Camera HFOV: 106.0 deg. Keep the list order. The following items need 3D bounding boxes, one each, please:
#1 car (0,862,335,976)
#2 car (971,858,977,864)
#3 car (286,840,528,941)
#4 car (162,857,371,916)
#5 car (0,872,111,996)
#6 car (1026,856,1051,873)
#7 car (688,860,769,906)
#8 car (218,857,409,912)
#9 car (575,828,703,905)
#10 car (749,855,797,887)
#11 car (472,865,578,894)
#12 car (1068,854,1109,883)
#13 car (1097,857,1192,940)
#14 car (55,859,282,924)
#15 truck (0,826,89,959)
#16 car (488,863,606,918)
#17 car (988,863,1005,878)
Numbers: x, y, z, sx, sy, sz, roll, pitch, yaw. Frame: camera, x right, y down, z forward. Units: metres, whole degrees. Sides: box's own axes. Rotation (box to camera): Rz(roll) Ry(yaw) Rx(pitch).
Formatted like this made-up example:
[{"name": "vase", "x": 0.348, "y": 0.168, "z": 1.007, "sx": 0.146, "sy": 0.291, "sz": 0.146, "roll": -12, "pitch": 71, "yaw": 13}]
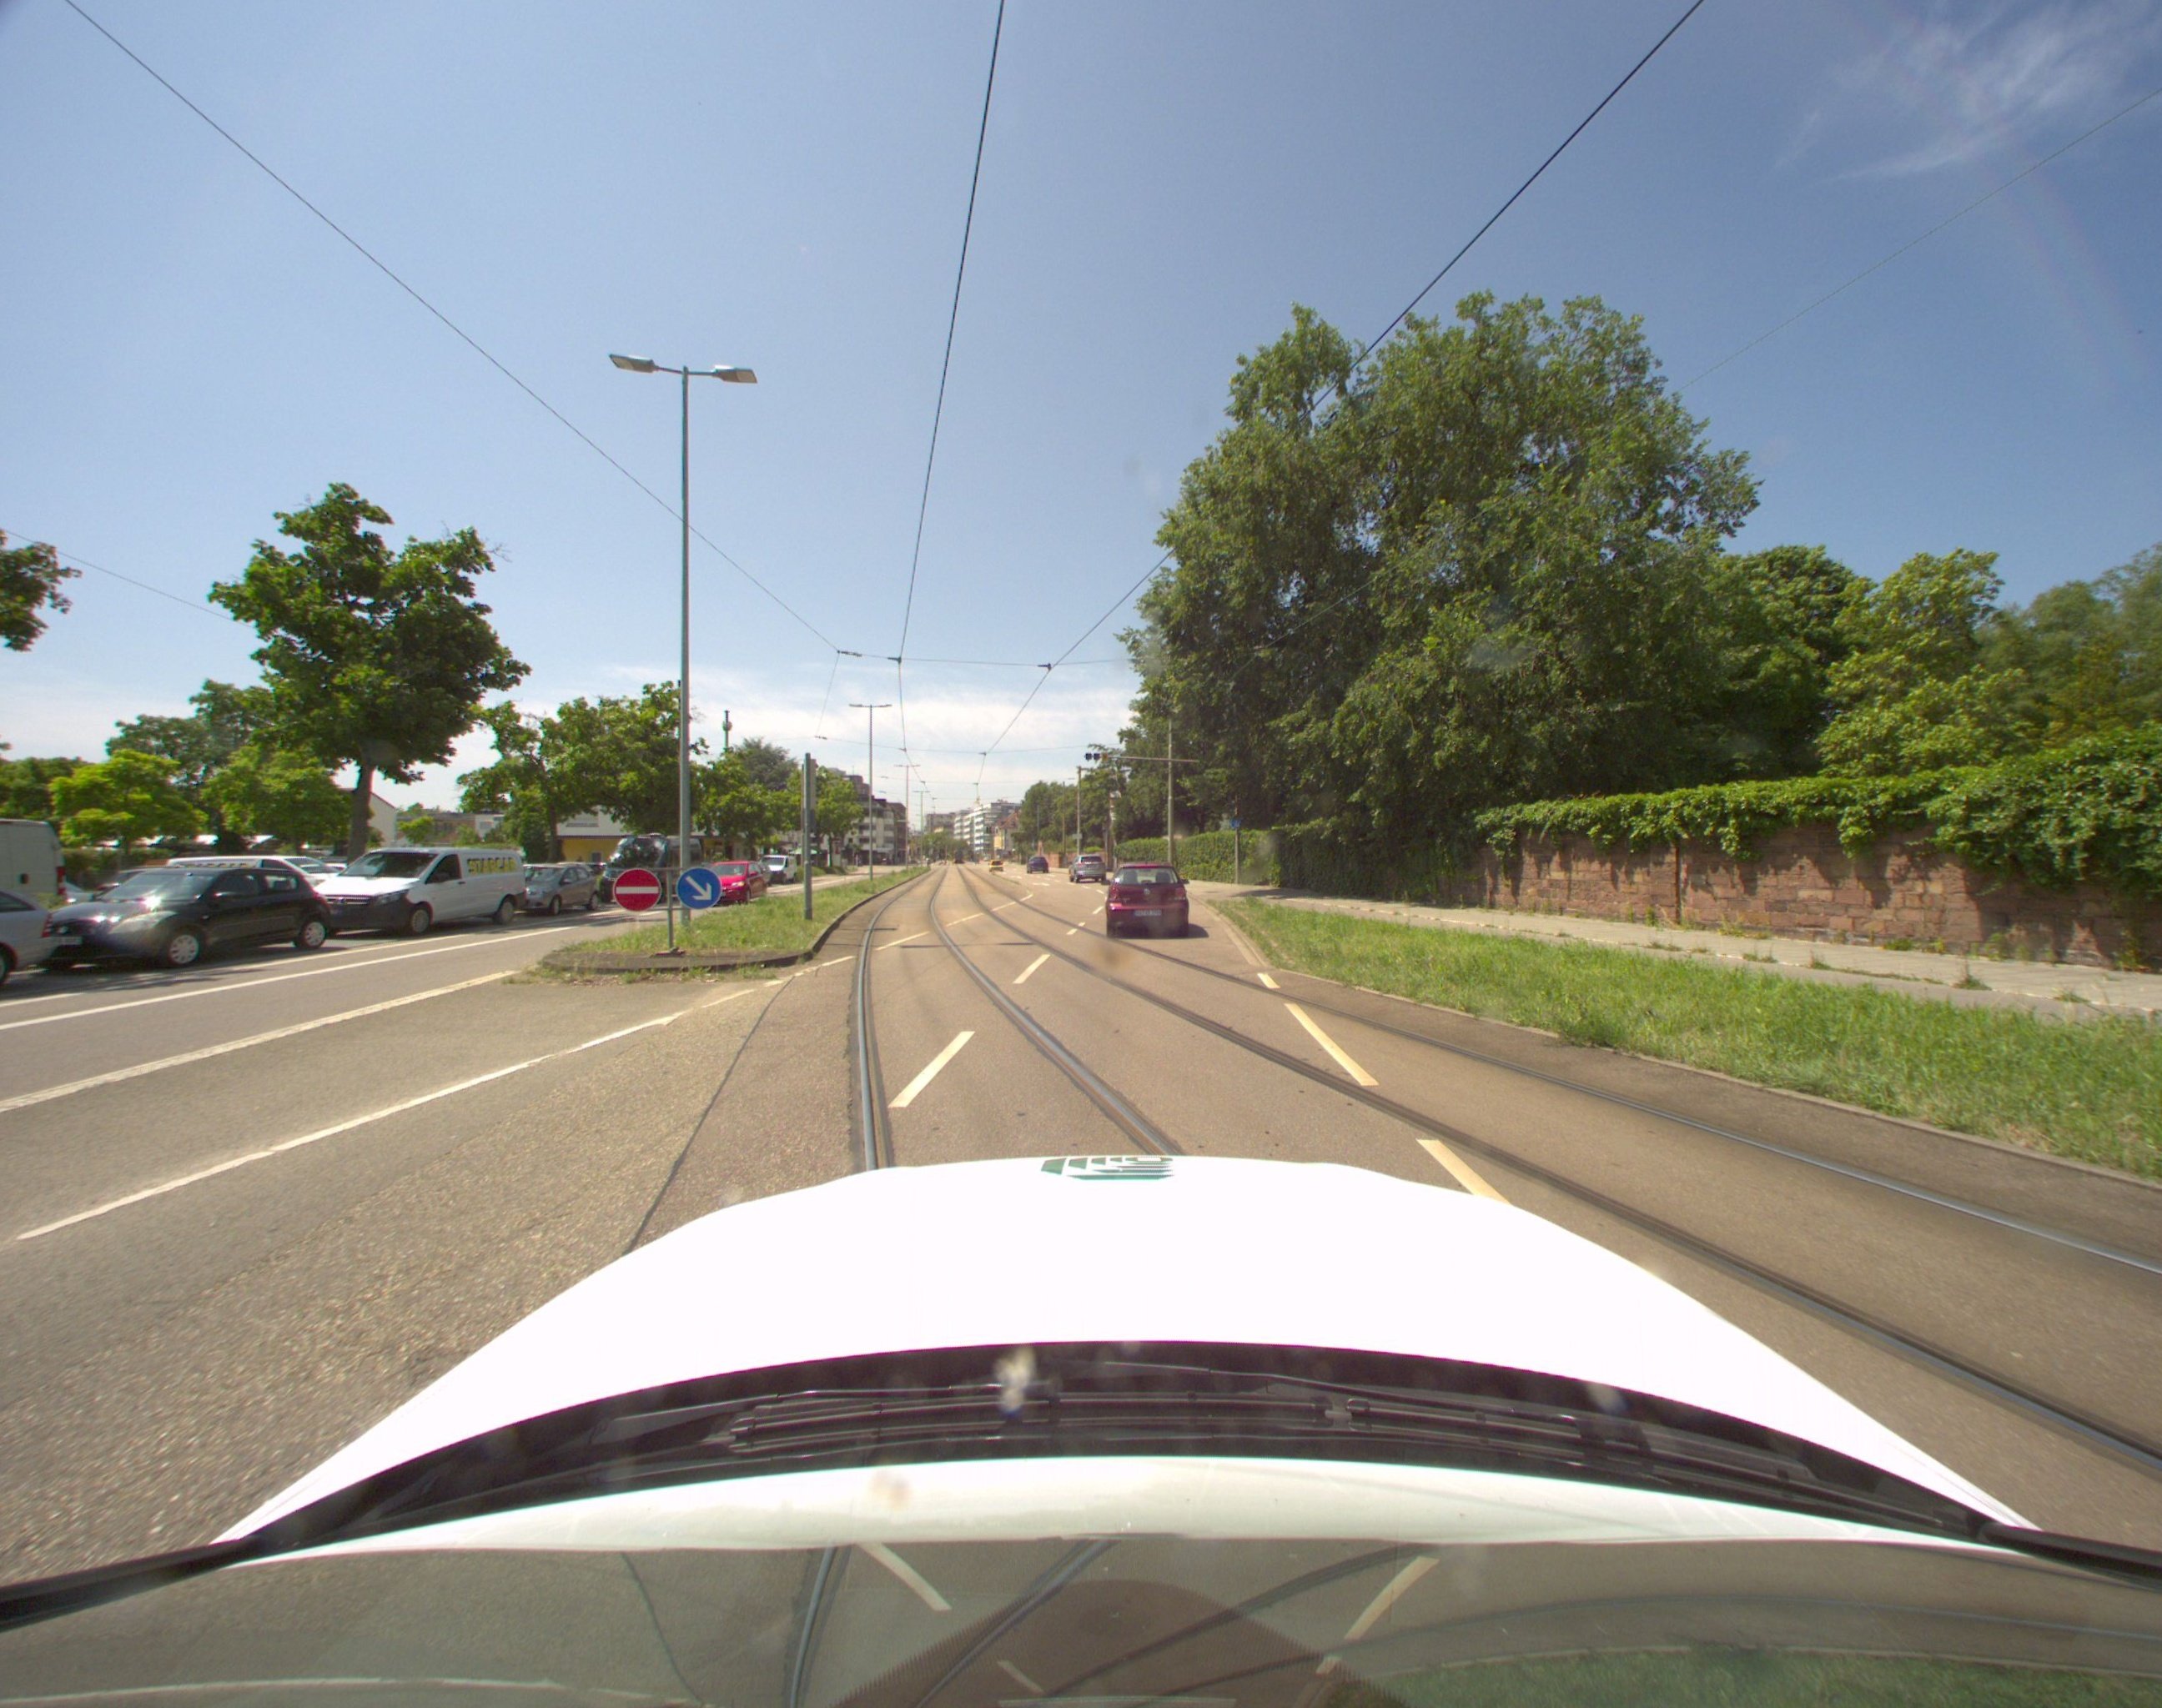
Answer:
[{"name": "car", "x": -14.365, "y": 0.915, "z": 13.007, "sx": 1.612, "sy": 1.484, "sz": 3.775, "roll": 3, "pitch": -1, "yaw": -7}, {"name": "car", "x": -23.267, "y": 1.493, "z": 176.717, "sx": 1.353, "sy": 1.252, "sz": 2.963, "roll": 1, "pitch": 0, "yaw": -9}, {"name": "car", "x": -15.086, "y": 0.748, "z": 18.677, "sx": 1.861, "sy": 1.937, "sz": 4.794, "roll": 3, "pitch": -1, "yaw": -7}, {"name": "car", "x": -27.104, "y": 1.027, "z": 27.283, "sx": 4.720, "sy": 1.813, "sz": 1.790, "roll": -1, "pitch": 0, "yaw": -11}, {"name": "car", "x": -13.669, "y": 0.965, "z": 8.575, "sx": 1.719, "sy": 1.427, "sz": 4.754, "roll": 2, "pitch": -1, "yaw": -10}, {"name": "car", "x": -4.139, "y": 0.992, "z": 78.467, "sx": 1.775, "sy": 1.631, "sz": 3.984, "roll": 1, "pitch": 0, "yaw": -12}, {"name": "car", "x": -11.871, "y": 0.932, "z": 27.637, "sx": 1.657, "sy": 1.410, "sz": 3.594, "roll": -2, "pitch": 0, "yaw": -9}, {"name": "car", "x": -27.469, "y": 1.056, "z": 29.311, "sx": 4.720, "sy": 1.813, "sz": 1.790, "roll": -1, "pitch": 0, "yaw": -11}, {"name": "car", "x": -17.214, "y": 0.472, "z": 32.201, "sx": 2.398, "sy": 2.656, "sz": 6.153, "roll": 3, "pitch": -1, "yaw": -9}, {"name": "car", "x": -20.528, "y": 1.087, "z": 54.504, "sx": 1.875, "sy": 1.965, "sz": 5.148, "roll": 3, "pitch": -1, "yaw": -9}, {"name": "car", "x": -29.553, "y": 1.343, "z": 43.402, "sx": 4.212, "sy": 1.411, "sz": 1.849, "roll": -1, "pitch": 0, "yaw": -12}, {"name": "car", "x": 0.407, "y": 0.845, "z": 48.782, "sx": 1.794, "sy": 1.683, "sz": 3.988, "roll": 1, "pitch": 0, "yaw": -9}, {"name": "car", "x": 1.229, "y": 0.837, "z": 17.236, "sx": 1.605, "sy": 1.498, "sz": 3.998, "roll": -1, "pitch": 0, "yaw": -1}, {"name": "car", "x": -27.018, "y": 1.062, "z": 24.278, "sx": 4.211, "sy": 1.765, "sz": 1.850, "roll": -1, "pitch": 0, "yaw": -11}, {"name": "truck", "x": -25.278, "y": 0.832, "z": 16.990, "sx": 5.575, "sy": 2.759, "sz": 2.425, "roll": -1, "pitch": 0, "yaw": -9}, {"name": "car", "x": -15.838, "y": 1.024, "z": 24.384, "sx": 1.404, "sy": 1.440, "sz": 3.827, "roll": 3, "pitch": -1, "yaw": -9}, {"name": "car", "x": -10.365, "y": 2.014, "z": 99.690, "sx": 1.794, "sy": 1.683, "sz": 3.988, "roll": 1, "pitch": 0, "yaw": -9}]
